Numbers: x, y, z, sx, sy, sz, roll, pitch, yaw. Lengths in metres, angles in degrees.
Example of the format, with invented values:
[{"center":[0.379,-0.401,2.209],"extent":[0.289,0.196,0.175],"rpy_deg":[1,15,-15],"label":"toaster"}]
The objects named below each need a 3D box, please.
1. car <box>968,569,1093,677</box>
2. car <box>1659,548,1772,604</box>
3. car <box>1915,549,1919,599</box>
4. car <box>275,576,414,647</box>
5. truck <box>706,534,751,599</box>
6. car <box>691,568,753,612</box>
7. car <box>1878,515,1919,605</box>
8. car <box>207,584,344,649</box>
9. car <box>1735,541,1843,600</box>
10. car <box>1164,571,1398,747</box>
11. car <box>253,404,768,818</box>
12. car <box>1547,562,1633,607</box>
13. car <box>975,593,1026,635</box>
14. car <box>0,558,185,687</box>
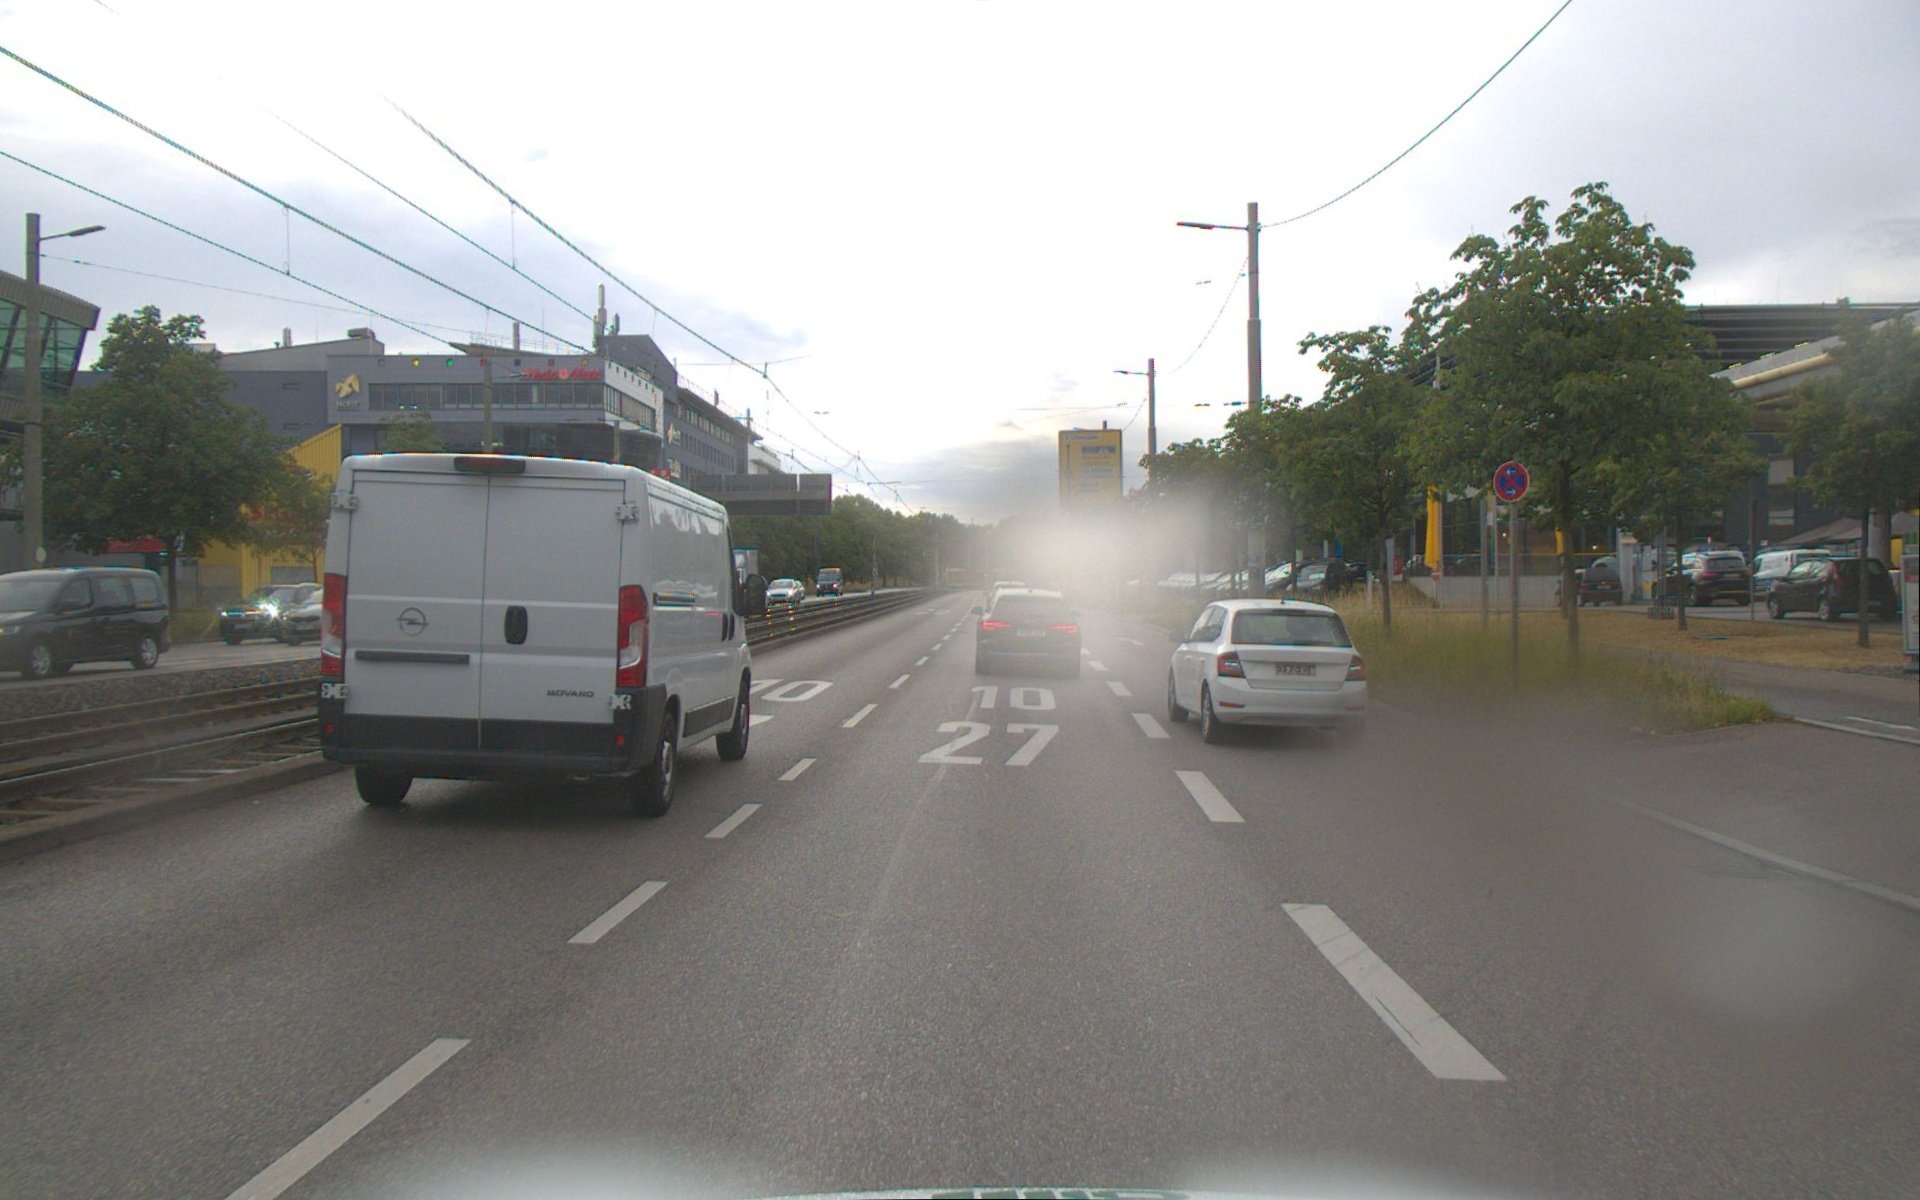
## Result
[{"center":[1.249,0.371,28.543],"extent":[1.952,1.666,4.002],"rpy_deg":[2,0,3],"label":"car"},{"center":[24.852,-0.788,54.533],"extent":[1.952,1.758,4.001],"rpy_deg":[0,1,1],"label":"car"},{"center":[32.303,-0.843,52.292],"extent":[1.952,1.624,4.001],"rpy_deg":[0,1,1],"label":"car"},{"center":[-16.526,0.283,44.654],"extent":[1.762,1.815,4.495],"rpy_deg":[0,1,5],"label":"car"},{"center":[-13.923,-1.996,99.790],"extent":[2.116,3.709,6.868],"rpy_deg":[2,0,-4],"label":"truck"},{"center":[-10.990,-0.479,76.660],"extent":[2.114,1.918,4.302],"rpy_deg":[2,0,1],"label":"car"},{"center":[22.928,-0.904,38.131],"extent":[1.644,2.049,3.543],"rpy_deg":[2,0,3],"label":"car"},{"center":[-19.746,0.437,47.914],"extent":[1.762,1.774,4.495],"rpy_deg":[0,1,5],"label":"car"},{"center":[29.986,-1.068,59.958],"extent":[1.952,2.049,4.001],"rpy_deg":[0,0,1],"label":"car"},{"center":[3.410,0.581,18.309],"extent":[1.791,1.685,4.000],"rpy_deg":[1,0,0],"label":"car"},{"center":[-2.895,0.026,12.065],"extent":[2.395,2.334,4.904],"rpy_deg":[2,1,-1],"label":"car"},{"center":[23.472,-0.589,61.787],"extent":[1.754,1.619,4.001],"rpy_deg":[0,1,1],"label":"car"},{"center":[1.523,0.510,61.325],"extent":[1.854,1.491,3.910],"rpy_deg":[0,0,2],"label":"car"},{"center":[-15.164,0.325,27.689],"extent":[1.762,1.961,4.806],"rpy_deg":[0,1,5],"label":"car"}]
